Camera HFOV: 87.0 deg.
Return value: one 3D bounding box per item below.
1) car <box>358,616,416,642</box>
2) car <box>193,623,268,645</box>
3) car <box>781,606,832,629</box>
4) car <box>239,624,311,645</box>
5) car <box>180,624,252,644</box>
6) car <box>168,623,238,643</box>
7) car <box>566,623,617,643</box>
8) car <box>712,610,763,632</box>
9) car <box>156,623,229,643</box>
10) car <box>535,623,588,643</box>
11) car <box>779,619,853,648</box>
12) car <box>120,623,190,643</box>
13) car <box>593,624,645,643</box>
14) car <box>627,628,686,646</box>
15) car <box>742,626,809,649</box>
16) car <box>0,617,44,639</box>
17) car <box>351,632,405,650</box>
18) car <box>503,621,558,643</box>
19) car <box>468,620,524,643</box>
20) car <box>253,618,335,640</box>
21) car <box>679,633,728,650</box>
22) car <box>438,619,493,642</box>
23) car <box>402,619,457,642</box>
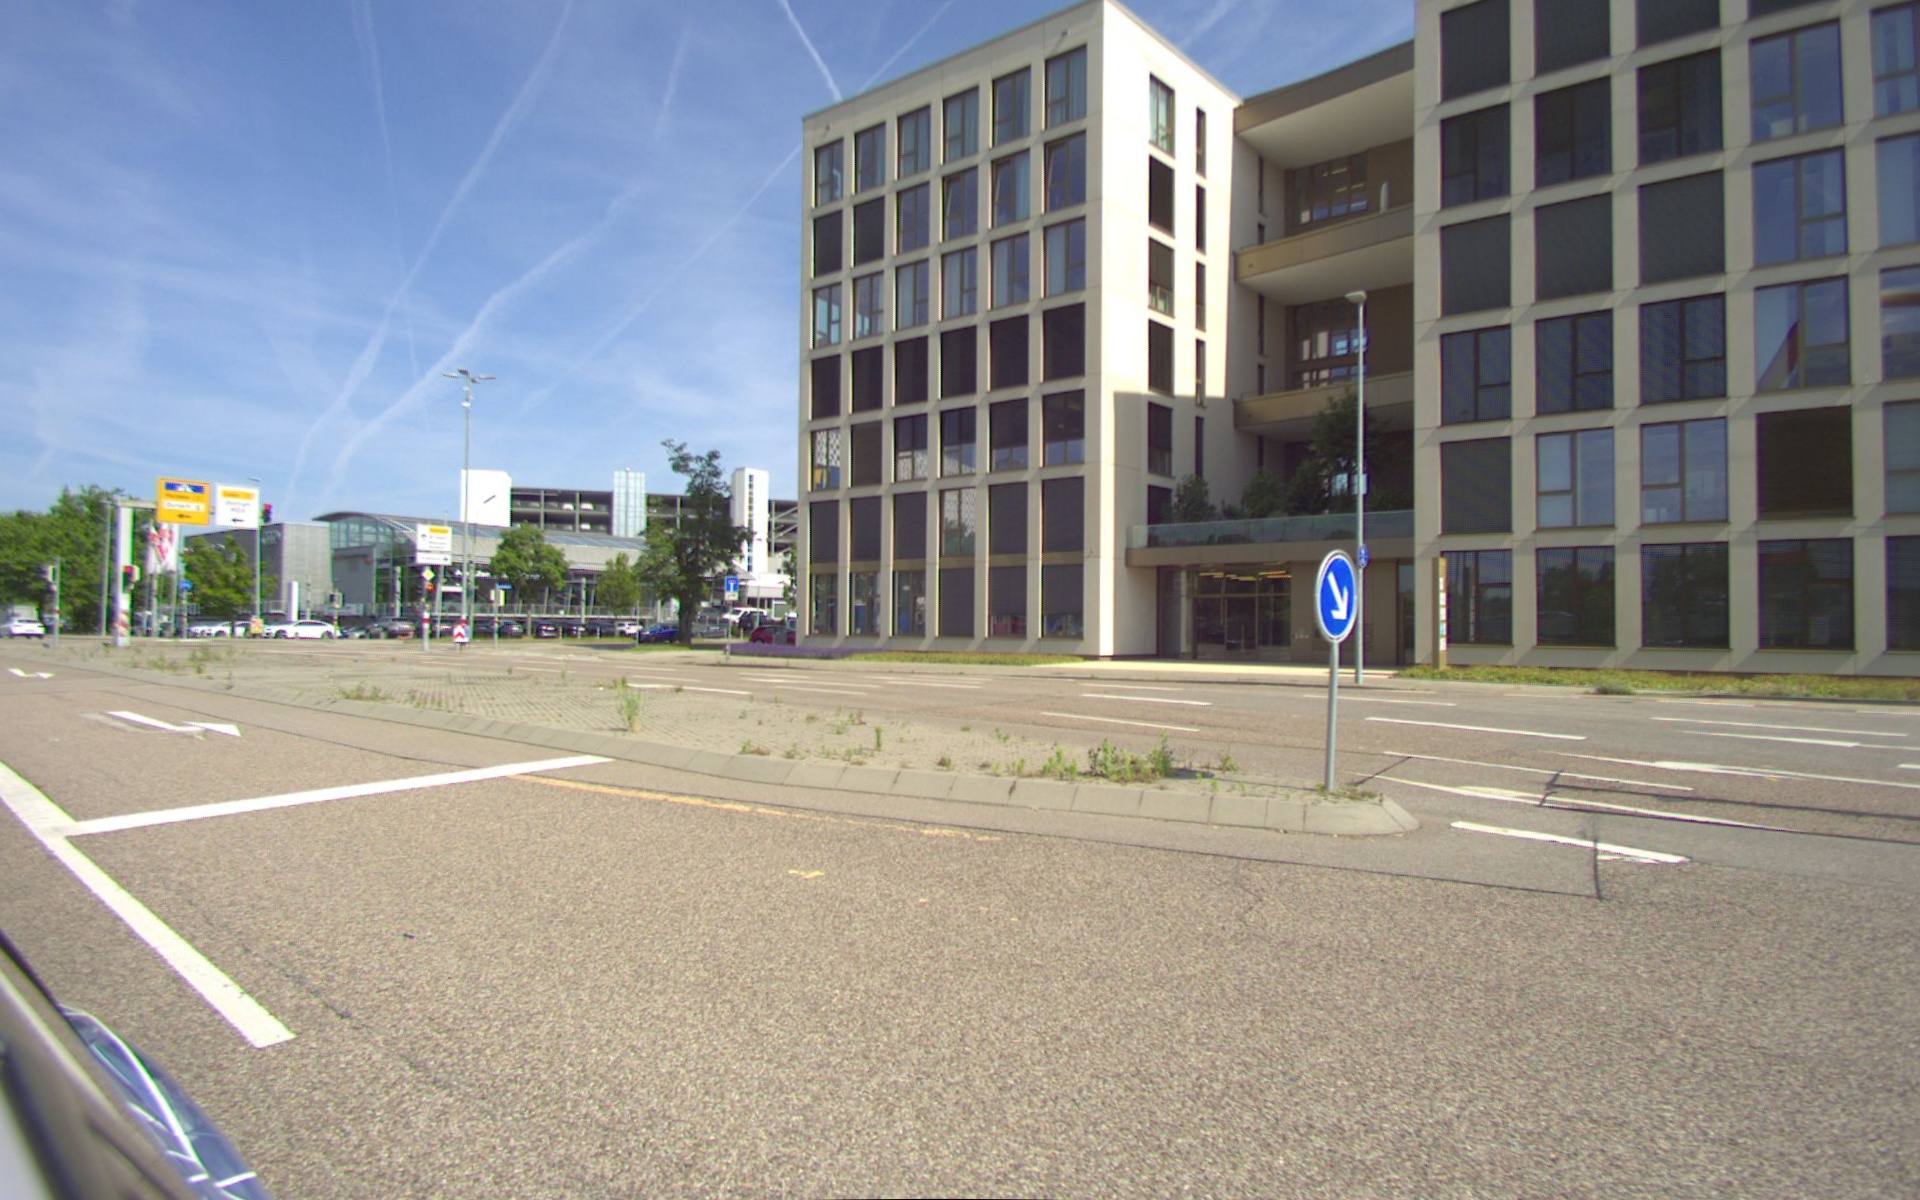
[{"bbox_3d":[-39.680,2.037,70.049,4.587,1.626,1.797,-4,-5,37],"label":"car"},{"bbox_3d":[-54.002,2.519,74.969,1.874,1.380,4.036,-1,-5,35],"label":"car"},{"bbox_3d":[-16.214,1.834,107.317,2.085,2.360,5.482,-2,-2,36],"label":"car"},{"bbox_3d":[-47.539,2.393,70.288,1.759,1.413,3.802,-1,-3,34],"label":"car"},{"bbox_3d":[-56.153,2.562,76.467,1.865,1.329,3.951,-1,-5,36],"label":"car"},{"bbox_3d":[-58.258,2.580,77.934,1.834,1.329,3.950,-1,-5,37],"label":"car"},{"bbox_3d":[-30.229,2.735,83.016,4.392,1.453,1.772,-3,-4,35],"label":"car"},{"bbox_3d":[-21.309,1.997,97.159,2.083,1.922,4.495,4,1,34],"label":"car"},{"bbox_3d":[-60.463,2.626,79.755,1.850,1.345,4.138,-1,-5,35],"label":"car"},{"bbox_3d":[-31.871,2.659,80.862,4.621,1.453,1.772,-4,-4,35],"label":"car"},{"bbox_3d":[-9.352,2.169,65.837,4.738,1.835,1.901,0,-2,-8],"label":"car"},{"bbox_3d":[-67.260,2.775,84.639,1.798,1.405,4.179,-1,-5,35],"label":"car"},{"bbox_3d":[-28.741,2.864,85.254,4.549,1.453,1.772,-3,-4,35],"label":"car"},{"bbox_3d":[-22.078,2.684,73.718,1.659,1.299,3.751,-1,-2,42],"label":"car"},{"bbox_3d":[-11.407,2.333,62.802,3.968,1.426,1.810,0,-2,-6],"label":"car"},{"bbox_3d":[-65.640,1.964,70.407,4.322,1.472,1.767,-1,-4,34],"label":"car"},{"bbox_3d":[-48.037,3.397,83.616,1.656,1.484,3.478,-1,-2,34],"label":"car"},{"bbox_3d":[-33.471,2.503,78.847,4.664,1.529,1.762,-4,-4,35],"label":"car"},{"bbox_3d":[-35.143,2.412,76.582,4.766,1.517,1.772,-4,-5,35],"label":"car"},{"bbox_3d":[-45.385,1.998,69.034,1.897,1.443,4.331,-1,-3,37],"label":"car"},{"bbox_3d":[-23.068,3.733,91.138,3.957,1.453,1.803,2,-3,-28],"label":"car"},{"bbox_3d":[-36.376,2.265,74.369,4.366,1.556,1.772,-4,-4,35],"label":"car"},{"bbox_3d":[-37.695,2.174,71.880,4.191,1.453,1.772,-4,-4,35],"label":"car"}]
